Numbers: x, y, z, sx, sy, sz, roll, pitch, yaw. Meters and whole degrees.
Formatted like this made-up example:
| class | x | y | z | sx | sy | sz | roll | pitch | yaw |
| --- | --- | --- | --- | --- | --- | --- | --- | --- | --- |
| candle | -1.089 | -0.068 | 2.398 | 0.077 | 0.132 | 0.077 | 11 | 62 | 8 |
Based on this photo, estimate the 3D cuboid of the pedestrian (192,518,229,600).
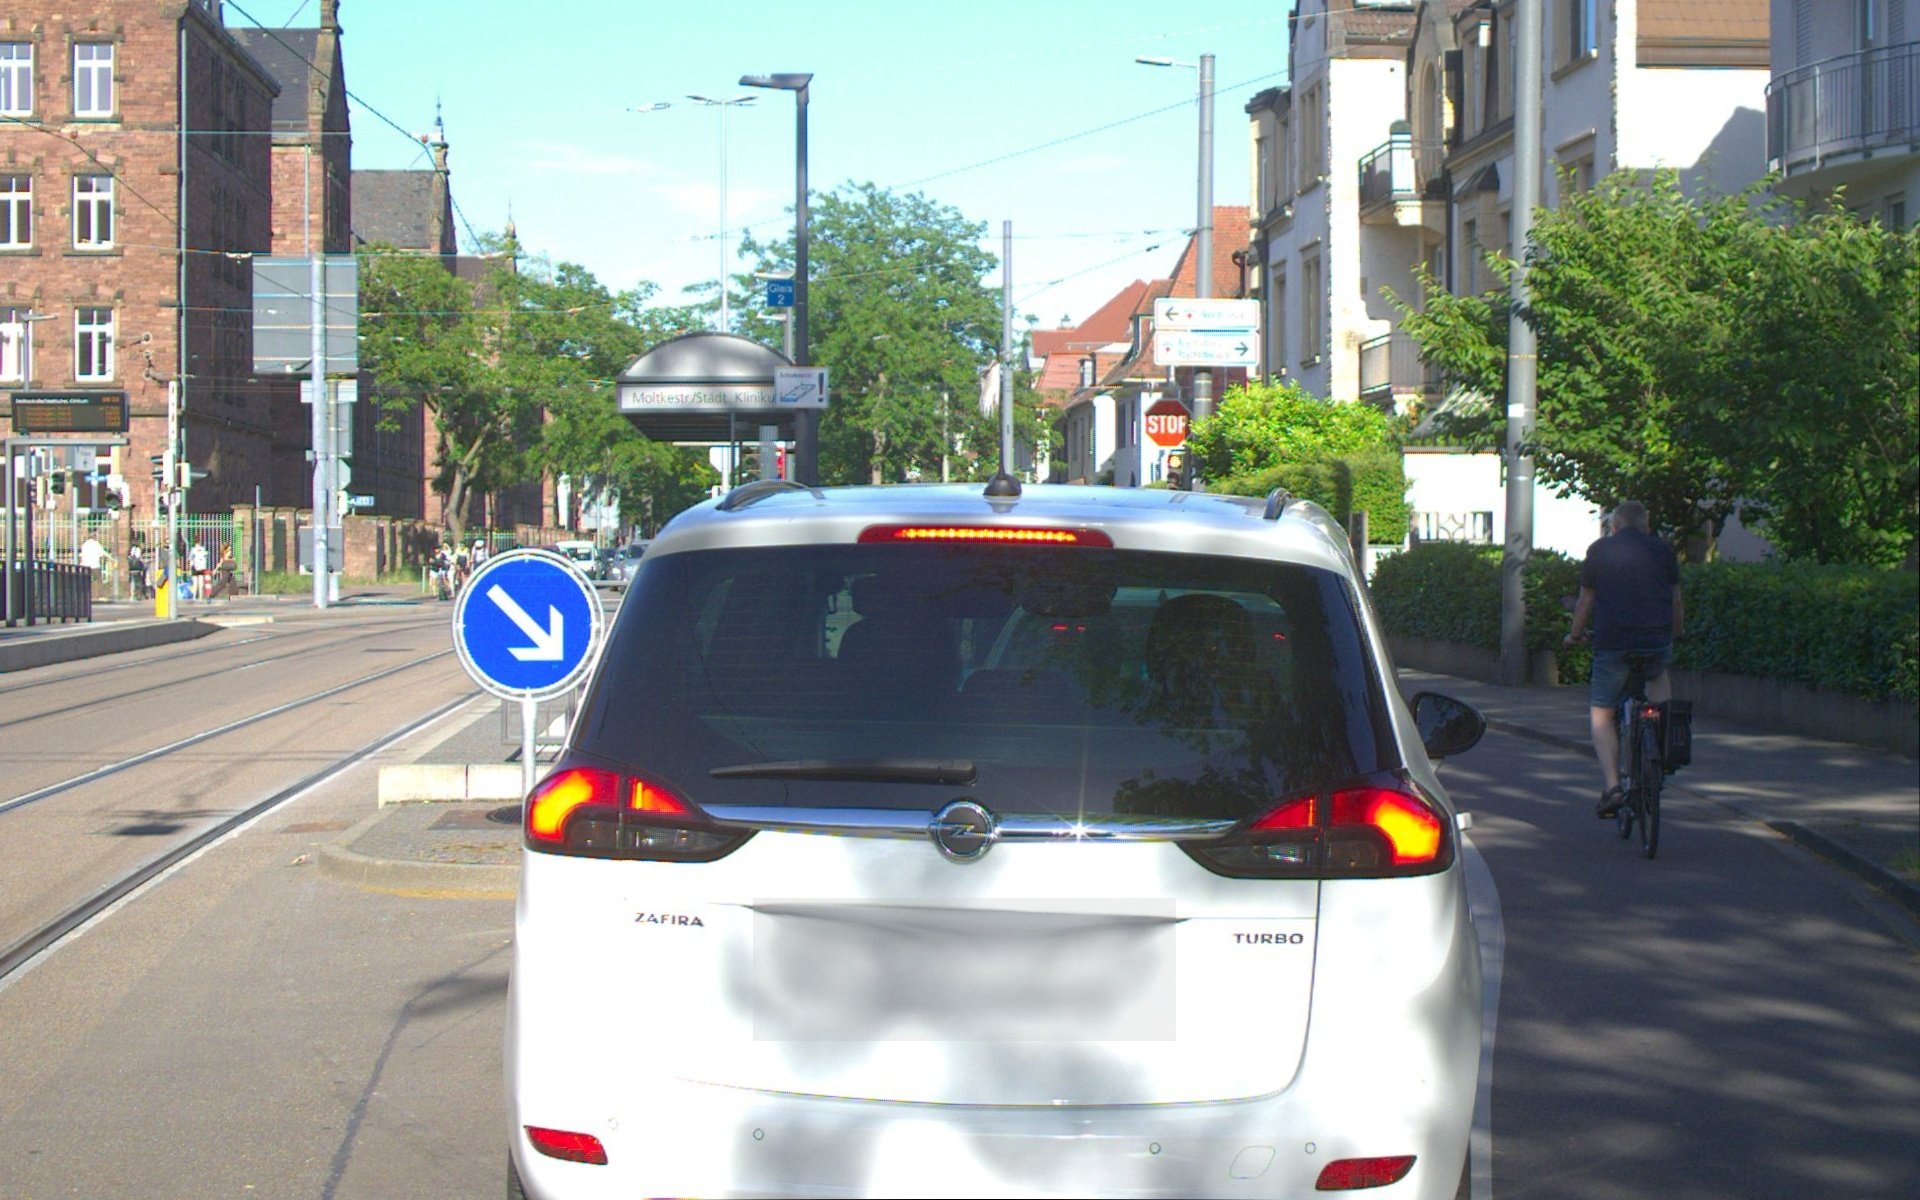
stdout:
| class | x | y | z | sx | sy | sz | roll | pitch | yaw |
| --- | --- | --- | --- | --- | --- | --- | --- | --- | --- |
| pedestrian | -18.526 | -1.010 | 84.980 | 0.794 | 2.007 | 0.721 | 1 | 0 | -17 |

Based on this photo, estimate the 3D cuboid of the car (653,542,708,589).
| class | x | y | z | sx | sy | sz | roll | pitch | yaw |
| --- | --- | --- | --- | --- | --- | --- | --- | --- | --- |
| car | -10.484 | -1.311 | 129.075 | 1.746 | 1.710 | 4.000 | 1 | 1 | -1 |

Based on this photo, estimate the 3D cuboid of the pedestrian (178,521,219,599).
| class | x | y | z | sx | sy | sz | roll | pitch | yaw |
| --- | --- | --- | --- | --- | --- | --- | --- | --- | --- |
| pedestrian | -19.709 | -1.039 | 88.974 | 0.795 | 2.007 | 0.720 | 1 | 0 | -37 |

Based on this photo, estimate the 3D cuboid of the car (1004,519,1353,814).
| class | x | y | z | sx | sy | sz | roll | pitch | yaw |
| --- | --- | --- | --- | --- | --- | --- | --- | --- | --- |
| car | 1.430 | 0.327 | 21.002 | 1.907 | 1.619 | 3.999 | 0 | 1 | 7 |

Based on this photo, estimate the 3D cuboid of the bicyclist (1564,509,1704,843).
| class | x | y | z | sx | sy | sz | roll | pitch | yaw |
| --- | --- | --- | --- | --- | --- | --- | --- | --- | --- |
| bicyclist | 3.469 | 0.376 | 17.738 | 0.616 | 1.681 | 0.779 | 0 | 1 | 5 |

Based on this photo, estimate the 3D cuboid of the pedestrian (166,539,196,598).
| class | x | y | z | sx | sy | sz | roll | pitch | yaw |
| --- | --- | --- | --- | --- | --- | --- | --- | --- | --- |
| pedestrian | -21.592 | -0.872 | 95.307 | 0.654 | 1.606 | 0.711 | 1 | 0 | 2 |

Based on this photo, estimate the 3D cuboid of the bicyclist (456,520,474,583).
| class | x | y | z | sx | sy | sz | roll | pitch | yaw |
| --- | --- | --- | --- | --- | --- | --- | --- | --- | --- |
| bicyclist | -15.697 | -1.535 | 108.988 | 0.498 | 2.007 | 0.572 | 0 | 1 | -1 |

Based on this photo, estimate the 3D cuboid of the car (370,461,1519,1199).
| class | x | y | z | sx | sy | sz | roll | pitch | yaw |
| --- | --- | --- | --- | --- | --- | --- | --- | --- | --- |
| car | 0.187 | 0.563 | 7.658 | 1.907 | 1.656 | 3.999 | 0 | 1 | 7 |

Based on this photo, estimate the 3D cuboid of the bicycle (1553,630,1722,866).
| class | x | y | z | sx | sy | sz | roll | pitch | yaw |
| --- | --- | --- | --- | --- | --- | --- | --- | --- | --- |
| bicycle | 3.474 | 0.730 | 17.755 | 0.624 | 1.093 | 1.973 | 0 | 1 | 5 |

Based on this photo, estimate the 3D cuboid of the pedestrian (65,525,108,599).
| class | x | y | z | sx | sy | sz | roll | pitch | yaw |
| --- | --- | --- | --- | --- | --- | --- | --- | --- | --- |
| pedestrian | -22.621 | -0.975 | 89.026 | 0.808 | 1.894 | 0.743 | 1 | 0 | 14 |

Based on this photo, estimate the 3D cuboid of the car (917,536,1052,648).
| class | x | y | z | sx | sy | sz | roll | pitch | yaw |
| --- | --- | --- | --- | --- | --- | --- | --- | --- | --- |
| car | 0.339 | -0.156 | 53.094 | 1.907 | 1.656 | 4.001 | 0 | 1 | -2 |

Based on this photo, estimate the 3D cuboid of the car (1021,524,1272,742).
| class | x | y | z | sx | sy | sz | roll | pitch | yaw |
| --- | --- | --- | --- | --- | --- | --- | --- | --- | --- |
| car | 1.566 | 0.213 | 28.279 | 1.907 | 1.656 | 4.000 | 0 | 1 | 4 |

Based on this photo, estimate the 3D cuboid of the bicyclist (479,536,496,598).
| class | x | y | z | sx | sy | sz | roll | pitch | yaw |
| --- | --- | --- | --- | --- | --- | --- | --- | --- | --- |
| bicyclist | -15.386 | -1.070 | 111.933 | 0.488 | 2.007 | 0.502 | 1 | 0 | -1 |

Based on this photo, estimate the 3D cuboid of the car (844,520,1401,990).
| class | x | y | z | sx | sy | sz | roll | pitch | yaw |
| --- | --- | --- | --- | --- | --- | --- | --- | --- | --- |
| car | 0.781 | 0.489 | 13.779 | 1.907 | 1.592 | 3.999 | 0 | 1 | 7 |

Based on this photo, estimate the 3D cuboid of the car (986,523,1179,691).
| class | x | y | z | sx | sy | sz | roll | pitch | yaw |
| --- | --- | --- | --- | --- | --- | --- | --- | --- | --- |
| car | 1.243 | 0.031 | 36.116 | 1.907 | 1.656 | 4.000 | 0 | 1 | 1 |

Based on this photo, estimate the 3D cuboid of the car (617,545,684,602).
| class | x | y | z | sx | sy | sz | roll | pitch | yaw |
| --- | --- | --- | --- | --- | --- | --- | --- | --- | --- |
| car | -9.636 | -0.832 | 107.366 | 1.746 | 1.710 | 4.000 | 1 | 1 | -1 |

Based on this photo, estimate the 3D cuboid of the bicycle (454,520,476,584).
| class | x | y | z | sx | sy | sz | roll | pitch | yaw |
| --- | --- | --- | --- | --- | --- | --- | --- | --- | --- |
| bicycle | -15.695 | -1.533 | 109.038 | 0.487 | 2.007 | 1.405 | 0 | 1 | 0 |

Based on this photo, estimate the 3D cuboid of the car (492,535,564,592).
| class | x | y | z | sx | sy | sz | roll | pitch | yaw |
| --- | --- | --- | --- | --- | --- | --- | --- | --- | --- |
| car | -13.424 | -1.132 | 107.050 | 1.746 | 1.710 | 4.000 | 1 | 1 | -1 |

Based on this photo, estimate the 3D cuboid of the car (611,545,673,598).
| class | x | y | z | sx | sy | sz | roll | pitch | yaw |
| --- | --- | --- | --- | --- | --- | --- | --- | --- | --- |
| car | -10.648 | -0.962 | 115.223 | 1.746 | 1.710 | 4.000 | 1 | 1 | -1 |

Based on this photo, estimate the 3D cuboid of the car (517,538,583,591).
| class | x | y | z | sx | sy | sz | roll | pitch | yaw |
| --- | --- | --- | --- | --- | --- | --- | --- | --- | --- |
| car | -13.549 | -1.168 | 113.718 | 1.746 | 1.710 | 4.000 | 1 | 1 | -1 |

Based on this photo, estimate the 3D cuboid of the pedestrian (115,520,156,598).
| class | x | y | z | sx | sy | sz | roll | pitch | yaw |
| --- | --- | --- | --- | --- | --- | --- | --- | --- | --- |
| pedestrian | -21.196 | -1.054 | 88.352 | 0.795 | 2.007 | 0.720 | 1 | 0 | -34 |

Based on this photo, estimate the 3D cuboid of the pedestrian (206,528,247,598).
| class | x | y | z | sx | sy | sz | roll | pitch | yaw |
| --- | --- | --- | --- | --- | --- | --- | --- | --- | --- |
| pedestrian | -20.031 | -1.014 | 93.894 | 0.808 | 1.894 | 0.743 | 1 | 0 | 18 |
